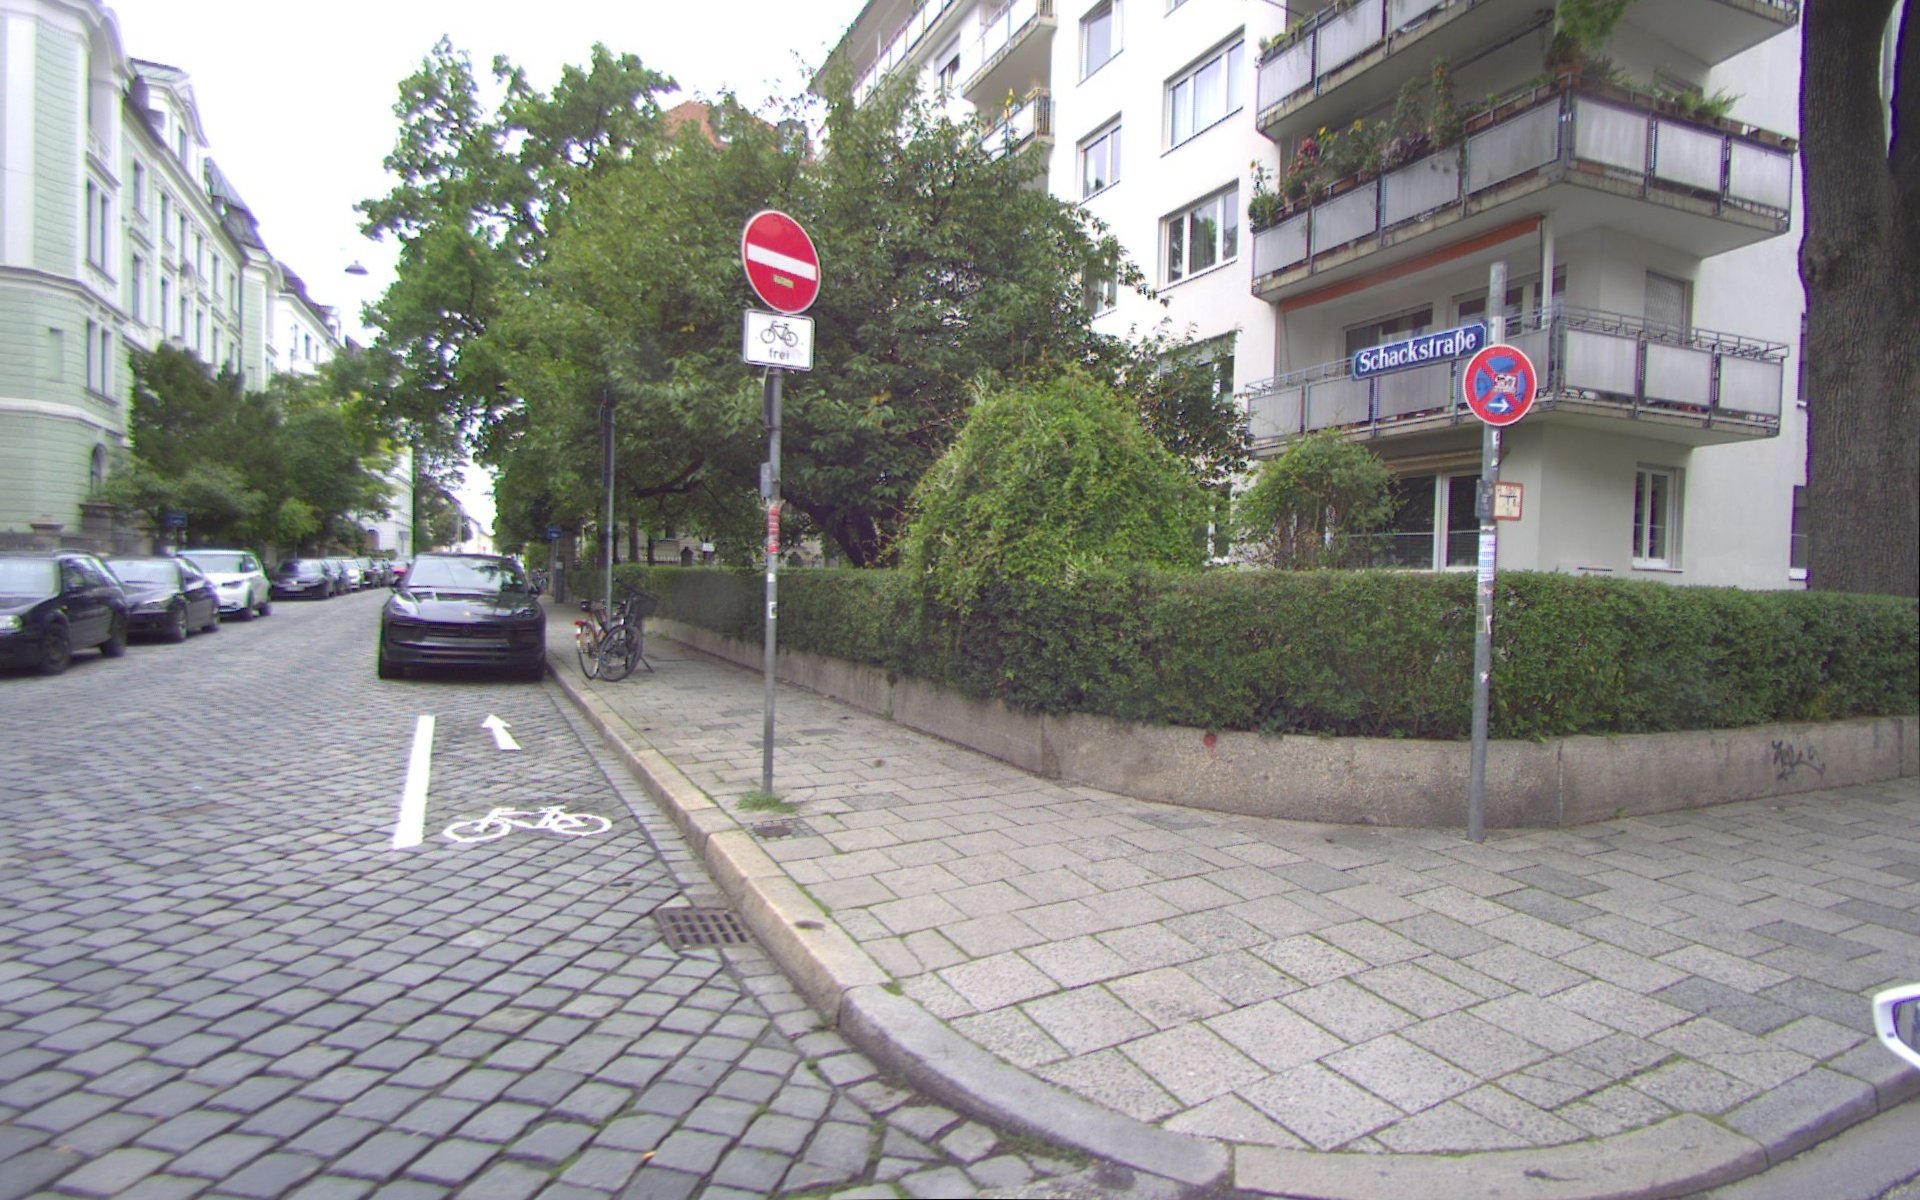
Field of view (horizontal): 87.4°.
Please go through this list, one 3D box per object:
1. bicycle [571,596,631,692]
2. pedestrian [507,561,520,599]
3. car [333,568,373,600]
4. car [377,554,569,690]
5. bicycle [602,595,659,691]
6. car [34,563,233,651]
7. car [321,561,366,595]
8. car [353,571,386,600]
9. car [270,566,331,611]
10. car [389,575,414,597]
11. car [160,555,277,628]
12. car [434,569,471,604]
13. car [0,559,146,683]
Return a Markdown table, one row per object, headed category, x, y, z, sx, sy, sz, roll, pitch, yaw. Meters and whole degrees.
| category | x | y | z | sx | sy | sz | roll | pitch | yaw |
| --- | --- | --- | --- | --- | --- | --- | --- | --- | --- |
| bicycle | -4.495 | 0.510 | 12.659 | 0.341 | 1.086 | 1.777 | 1 | 1 | -8 |
| pedestrian | -23.825 | -1.060 | 53.643 | 0.531 | 1.975 | 0.481 | 1 | 2 | -34 |
| car | -29.786 | -0.786 | 49.355 | 1.574 | 1.484 | 3.501 | 1 | 1 | -30 |
| car | -6.706 | 0.235 | 13.831 | 1.992 | 1.542 | 4.261 | 3 | 0 | -27 |
| bicycle | -4.160 | 0.511 | 12.766 | 0.341 | 1.086 | 1.777 | 2 | 1 | -8 |
| car | -14.185 | 0.072 | 17.509 | 1.821 | 1.344 | 4.083 | 1 | 1 | -27 |
| car | -27.267 | -0.987 | 44.524 | 1.503 | 1.447 | 3.374 | 1 | 1 | -29 |
| car | -32.085 | -0.812 | 54.636 | 1.480 | 1.451 | 3.570 | 1 | 1 | -29 |
| car | -23.070 | -0.425 | 35.233 | 1.503 | 1.447 | 3.374 | 1 | 1 | -29 |
| car | -39.726 | -0.993 | 71.431 | 1.480 | 1.451 | 3.570 | 1 | 1 | -29 |
| car | -16.973 | -0.218 | 23.147 | 1.568 | 1.542 | 3.633 | 1 | 1 | -27 |
| car | -24.550 | -0.685 | 48.557 | 1.489 | 1.600 | 3.104 | 1 | 1 | -29 |
| car | -11.826 | 0.165 | 12.473 | 1.821 | 1.344 | 4.083 | 1 | 1 | -27 |
